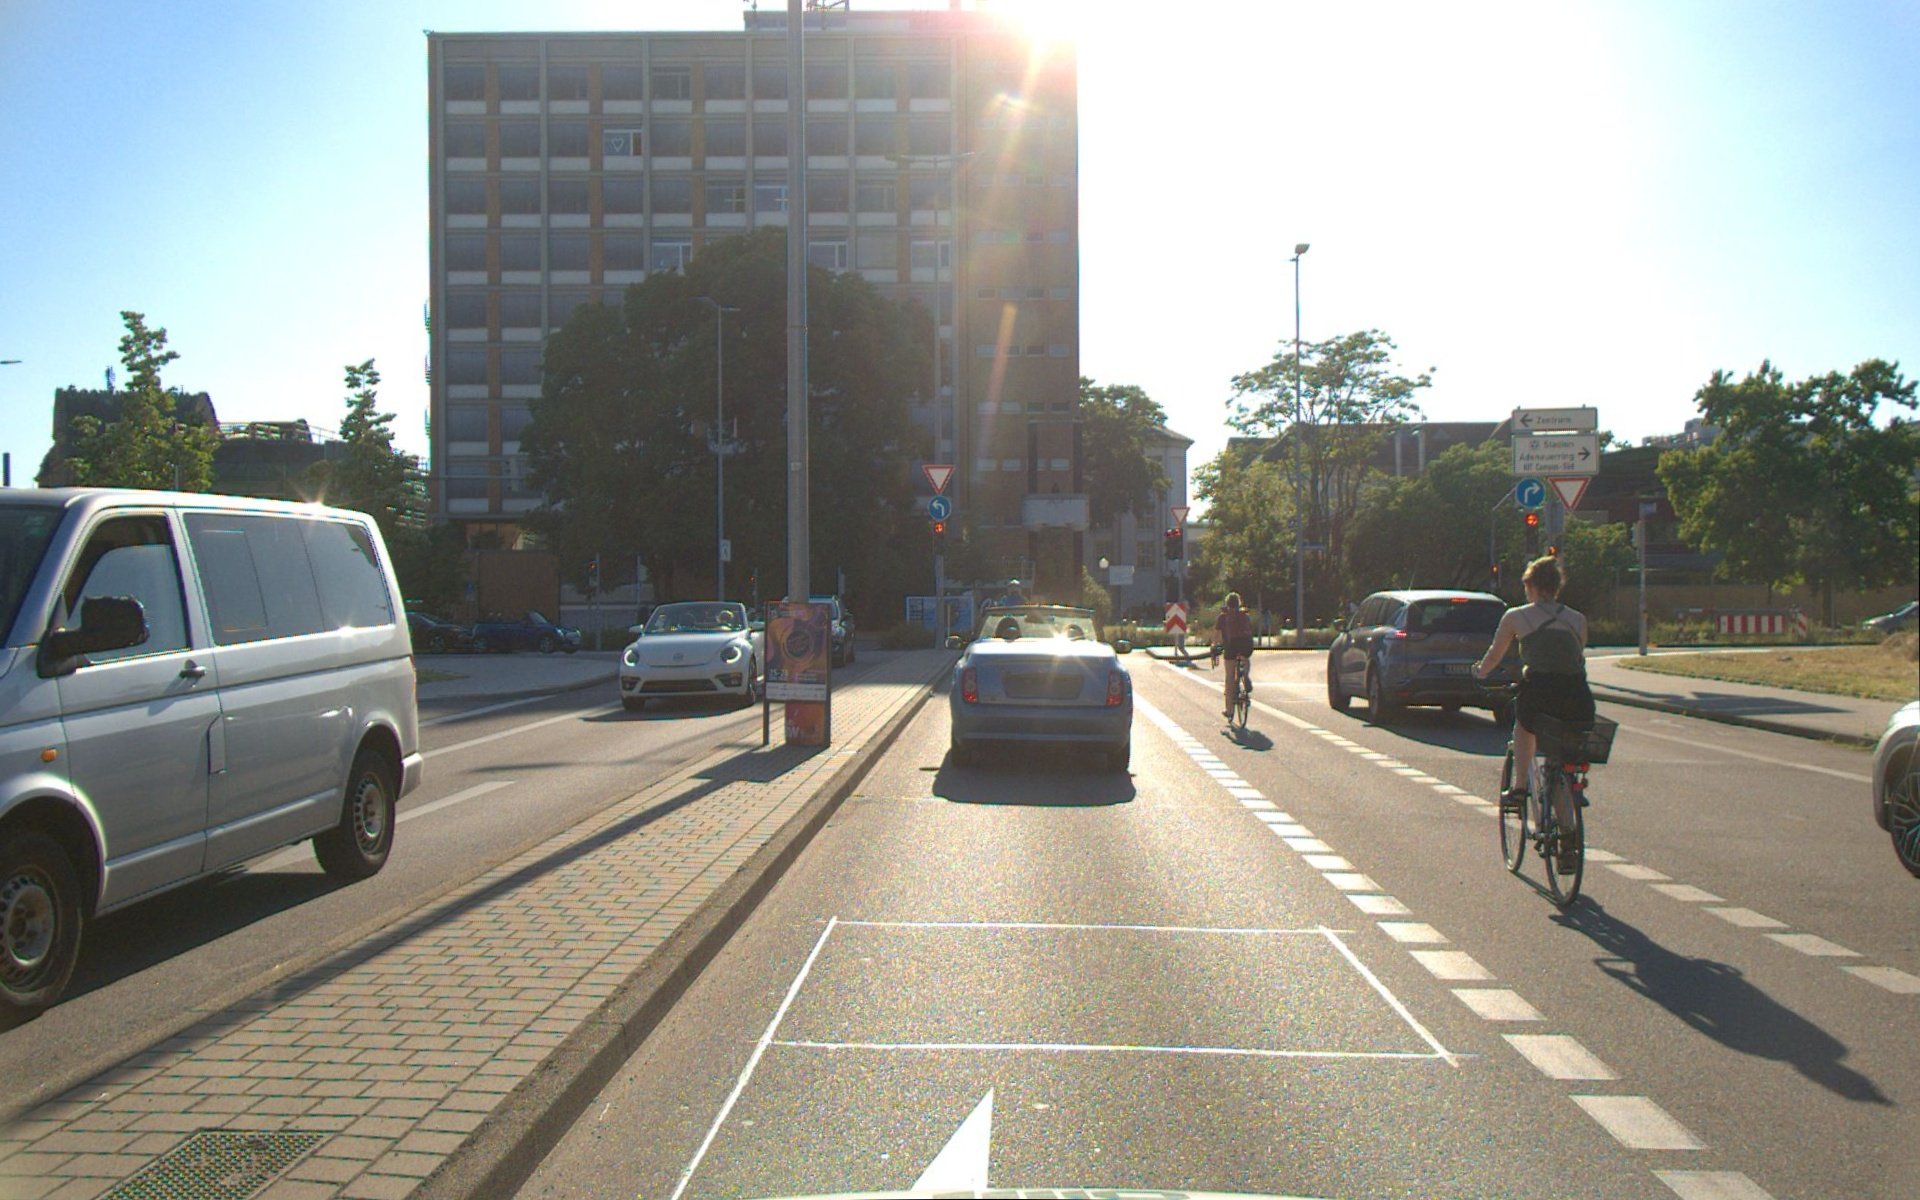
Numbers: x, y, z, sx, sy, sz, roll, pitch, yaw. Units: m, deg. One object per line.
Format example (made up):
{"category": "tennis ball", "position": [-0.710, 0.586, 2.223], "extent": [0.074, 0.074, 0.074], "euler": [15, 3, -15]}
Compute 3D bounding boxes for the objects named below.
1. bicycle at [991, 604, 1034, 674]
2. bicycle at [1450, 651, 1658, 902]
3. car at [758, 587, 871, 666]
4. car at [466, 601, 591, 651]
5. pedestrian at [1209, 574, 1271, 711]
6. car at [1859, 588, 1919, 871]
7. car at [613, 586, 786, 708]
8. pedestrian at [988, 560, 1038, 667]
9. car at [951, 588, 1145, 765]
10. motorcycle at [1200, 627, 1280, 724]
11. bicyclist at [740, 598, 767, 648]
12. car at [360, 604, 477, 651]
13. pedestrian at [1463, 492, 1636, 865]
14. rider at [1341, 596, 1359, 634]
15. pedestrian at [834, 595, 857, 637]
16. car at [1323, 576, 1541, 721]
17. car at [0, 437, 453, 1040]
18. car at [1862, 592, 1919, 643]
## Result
{"category": "bicycle", "position": [0.976, 0.698, 30.164], "extent": [0.595, 1.212, 2.416], "euler": [1, -1, 6]}
{"category": "bicycle", "position": [3.166, 0.883, 8.987], "extent": [0.552, 1.171, 1.950], "euler": [1, -1, 4]}
{"category": "car", "position": [-3.064, 0.542, 35.572], "extent": [1.761, 1.557, 4.002], "euler": [-2, 0, 4]}
{"category": "car", "position": [-14.120, 0.853, 54.183], "extent": [3.560, 1.588, 1.651], "euler": [-1, 0, 12]}
{"category": "pedestrian", "position": [3.430, 0.518, 20.324], "extent": [0.575, 1.626, 1.025], "euler": [1, -1, 1]}
{"category": "car", "position": [6.393, 0.743, 7.988], "extent": [1.750, 1.622, 4.329], "euler": [1, -1, 0]}
{"category": "car", "position": [-3.645, 0.614, 23.795], "extent": [1.762, 1.557, 4.000], "euler": [-2, 0, 1]}
{"category": "pedestrian", "position": [0.976, 0.243, 30.151], "extent": [0.815, 1.902, 0.921], "euler": [1, -1, 5]}
{"category": "car", "position": [0.750, 0.684, 16.119], "extent": [1.626, 1.466, 4.154], "euler": [1, -1, 0]}
{"category": "motorcycle", "position": [3.426, 0.893, 20.387], "extent": [0.601, 1.117, 2.360], "euler": [1, -1, 1]}
{"category": "bicyclist", "position": [-6.898, 0.766, 55.280], "extent": [0.735, 1.626, 0.590], "euler": [1, -1, 8]}
{"category": "car", "position": [-19.075, 0.952, 58.340], "extent": [3.560, 1.588, 1.601], "euler": [-1, 0, 7]}
{"category": "pedestrian", "position": [3.165, 0.408, 8.941], "extent": [0.645, 1.902, 0.873], "euler": [1, -1, 3]}
{"category": "rider", "position": [16.676, 0.645, 70.758], "extent": [0.735, 1.626, 0.590], "euler": [1, -1, 14]}
{"category": "pedestrian", "position": [-5.254, 0.757, 75.980], "extent": [0.851, 1.902, 0.661], "euler": [1, -1, 13]}
{"category": "car", "position": [6.186, 0.623, 22.178], "extent": [1.793, 1.719, 4.369], "euler": [1, -1, 2]}
{"category": "car", "position": [-4.020, 0.480, 7.303], "extent": [1.869, 1.979, 4.708], "euler": [-2, 0, 2]}
{"category": "car", "position": [31.132, 0.533, 53.022], "extent": [3.560, 1.588, 1.651], "euler": [-1, 0, 11]}
